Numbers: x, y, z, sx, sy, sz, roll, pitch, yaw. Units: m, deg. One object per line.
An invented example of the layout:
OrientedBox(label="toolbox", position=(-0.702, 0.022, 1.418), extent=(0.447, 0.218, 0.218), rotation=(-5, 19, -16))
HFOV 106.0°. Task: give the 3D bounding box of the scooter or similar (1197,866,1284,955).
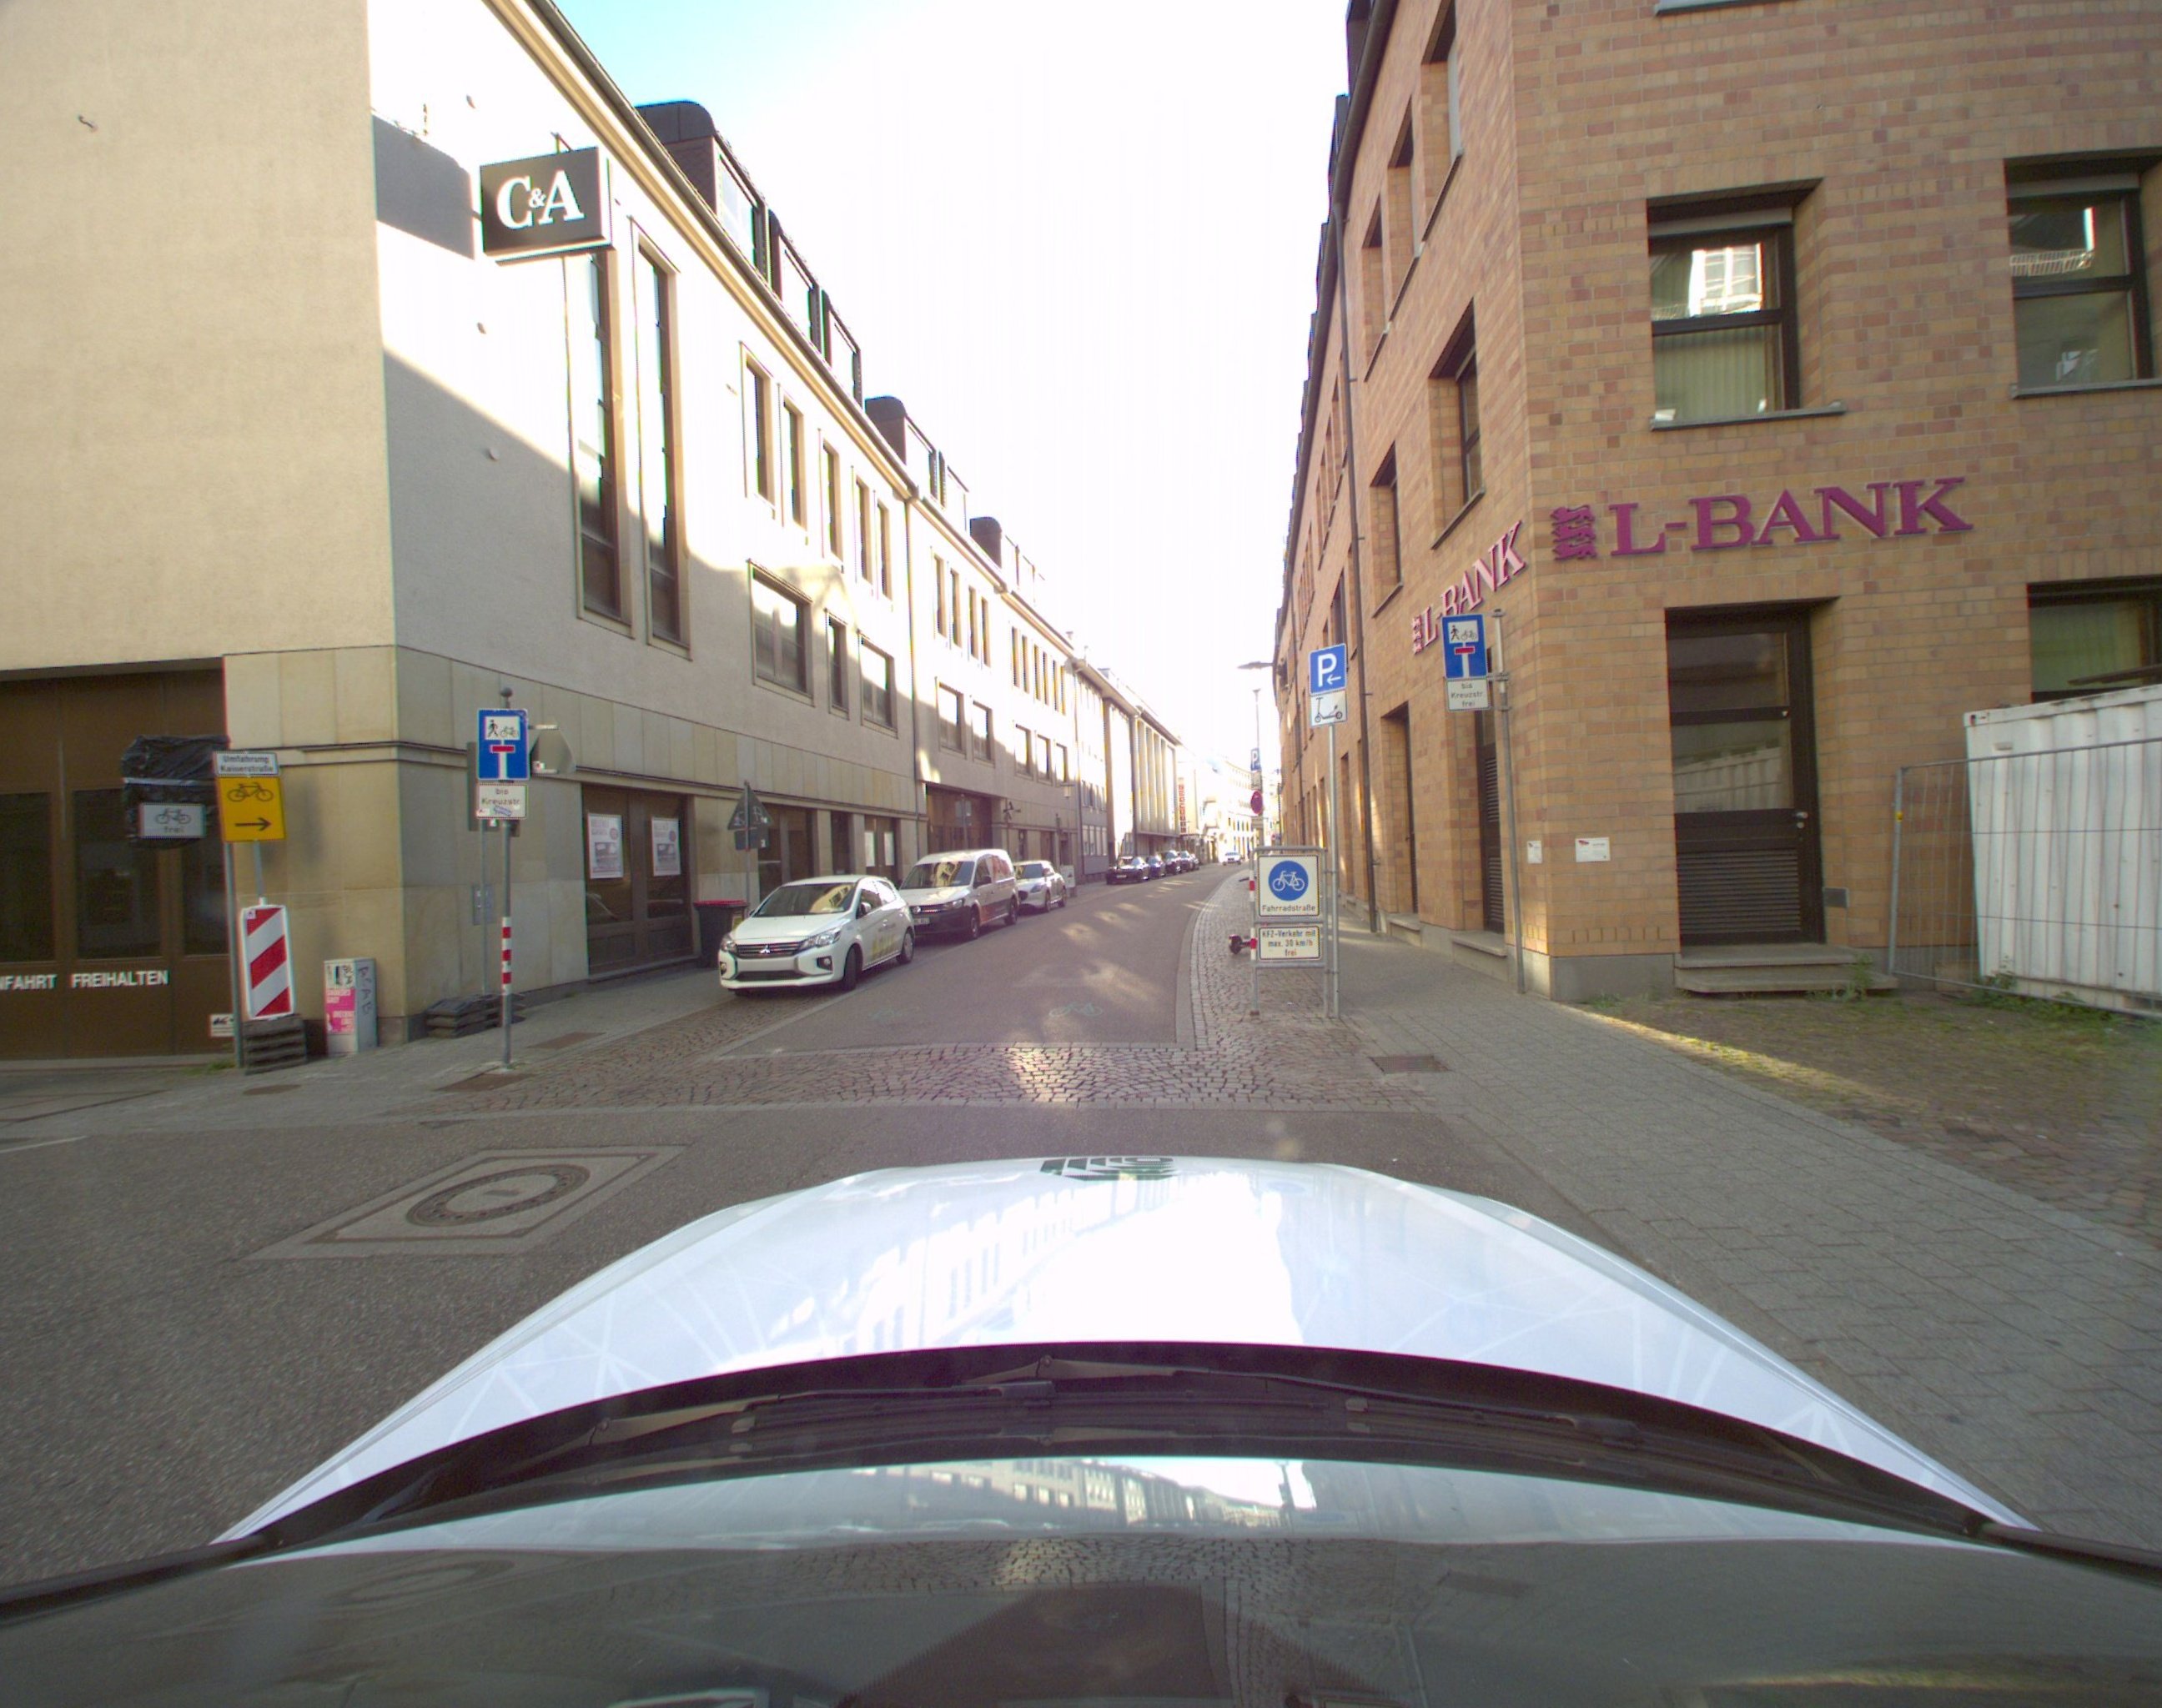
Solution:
OrientedBox(label="scooter or similar", position=(2.464, 0.832, 12.503), extent=(1.426, 1.235, 0.532), rotation=(-2, 1, -41))

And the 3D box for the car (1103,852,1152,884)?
OrientedBox(label="car", position=(2.596, 0.714, 44.283), extent=(1.877, 1.530, 4.744), rotation=(-3, 0, 12))

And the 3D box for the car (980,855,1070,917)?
OrientedBox(label="car", position=(-1.543, 0.882, 23.851), extent=(1.660, 1.522, 3.786), rotation=(-5, 0, 9))

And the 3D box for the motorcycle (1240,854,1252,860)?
OrientedBox(label="motorcycle", position=(23.246, 0.384, 114.805), extent=(1.677, 0.859, 0.597), rotation=(-1, -1, 20))

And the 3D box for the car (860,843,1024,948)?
OrientedBox(label="car", position=(-2.792, 0.771, 17.616), extent=(1.888, 1.857, 4.746), rotation=(-4, 0, 10))

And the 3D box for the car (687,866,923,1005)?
OrientedBox(label="car", position=(-3.686, 1.009, 11.668), extent=(1.729, 1.492, 3.805), rotation=(-4, 0, 5))

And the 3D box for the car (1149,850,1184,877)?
OrientedBox(label="car", position=(5.927, 0.643, 56.223), extent=(1.877, 1.675, 4.568), rotation=(-3, 0, 12))

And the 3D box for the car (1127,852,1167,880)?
OrientedBox(label="car", position=(4.133, 0.720, 50.397), extent=(1.877, 1.530, 4.354), rotation=(-3, 0, 12))

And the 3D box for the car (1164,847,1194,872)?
OrientedBox(label="car", position=(7.694, 0.403, 63.428), extent=(1.877, 1.742, 4.405), rotation=(-3, 0, 12))

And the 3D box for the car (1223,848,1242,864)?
OrientedBox(label="car", position=(15.615, 0.161, 83.917), extent=(1.703, 1.517, 4.174), rotation=(-3, 0, 12))

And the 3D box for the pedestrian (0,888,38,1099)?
OrientedBox(label="pedestrian", position=(-9.980, 1.255, 7.057), extent=(0.858, 1.854, 0.714), rotation=(-4, -2, -7))

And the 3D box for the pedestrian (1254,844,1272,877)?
OrientedBox(label="pedestrian", position=(9.652, 0.335, 43.195), extent=(0.755, 1.716, 0.824), rotation=(-4, -1, 11))

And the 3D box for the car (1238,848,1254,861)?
OrientedBox(label="car", position=(21.736, 0.020, 107.237), extent=(1.627, 1.517, 4.177), rotation=(-3, 0, 15))

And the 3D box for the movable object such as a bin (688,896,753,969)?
OrientedBox(label="movable object such as a bin", position=(-5.711, 1.227, 12.920), extent=(0.733, 1.101, 0.592), rotation=(-1, -1, 6))

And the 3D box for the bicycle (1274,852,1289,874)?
OrientedBox(label="bicycle", position=(10.966, 0.473, 44.530), extent=(0.546, 1.103, 1.987), rotation=(-6, -1, 9))
